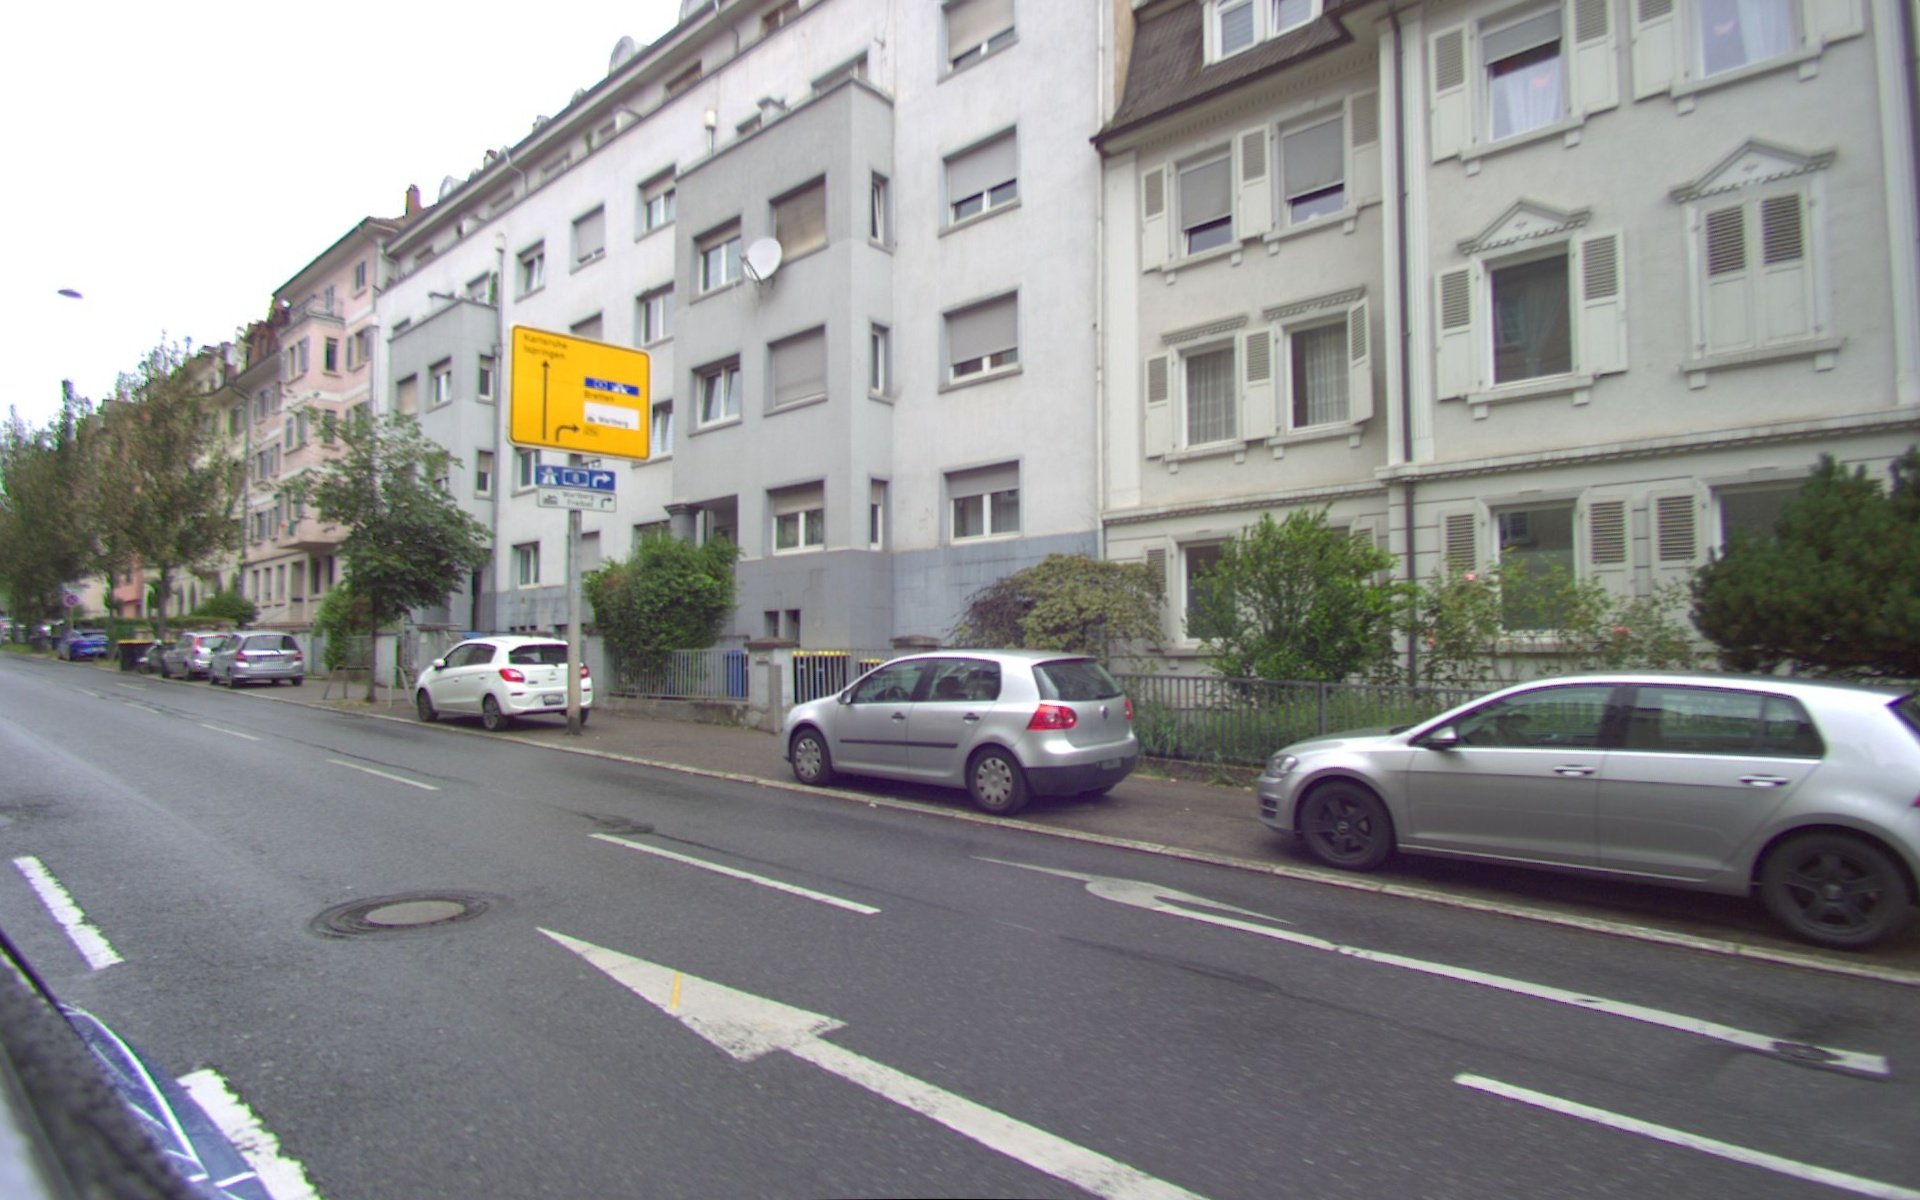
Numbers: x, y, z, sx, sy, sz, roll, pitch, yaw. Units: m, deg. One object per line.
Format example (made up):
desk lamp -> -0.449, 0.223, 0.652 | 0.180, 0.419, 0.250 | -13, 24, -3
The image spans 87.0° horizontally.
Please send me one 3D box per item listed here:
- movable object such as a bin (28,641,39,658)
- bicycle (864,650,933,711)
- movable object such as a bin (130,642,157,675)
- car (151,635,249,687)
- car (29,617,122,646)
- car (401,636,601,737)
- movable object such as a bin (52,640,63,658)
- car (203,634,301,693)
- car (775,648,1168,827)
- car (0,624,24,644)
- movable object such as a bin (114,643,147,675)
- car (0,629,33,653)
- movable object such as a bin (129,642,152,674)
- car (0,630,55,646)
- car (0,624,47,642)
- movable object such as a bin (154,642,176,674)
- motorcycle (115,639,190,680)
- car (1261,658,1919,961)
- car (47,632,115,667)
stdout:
movable object such as a bin -> -48.719, 2.600, 53.194 | 0.572, 0.896, 0.360 | -1, -1, 41
bicycle -> -1.164, 1.519, 19.356 | 0.484, 1.098, 1.406 | -1, -3, 41
movable object such as a bin -> -28.227, 2.017, 34.989 | 0.480, 1.066, 0.522 | 0, 1, 20
car -> -23.356, 1.815, 31.062 | 3.885, 1.407, 1.584 | 0, -2, 41
car -> -61.938, 2.149, 70.941 | 1.917, 1.919, 4.672 | 0, -1, 39
car -> -7.905, 1.386, 17.311 | 3.793, 1.519, 1.629 | -1, -2, 40
movable object such as a bin -> -48.084, 2.606, 53.916 | 0.572, 0.918, 0.360 | 0, 0, 41
car -> -19.610, 1.694, 27.961 | 1.582, 1.462, 3.889 | 0, -1, -45
car -> -0.017, 1.233, 10.356 | 3.908, 1.401, 1.665 | -1, -2, 42
car -> -95.168, 3.336, 99.793 | 1.865, 1.861, 3.880 | 0, -3, 39
movable object such as a bin -> -29.231, 2.079, 35.662 | 0.483, 1.066, 0.816 | 0, 1, 42
car -> -60.082, 2.564, 64.029 | 4.136, 1.428, 1.663 | -1, -3, 42
movable object such as a bin -> -28.693, 2.030, 35.427 | 0.482, 1.066, 0.467 | 0, 1, 32
car -> -84.918, 3.456, 91.886 | 1.646, 1.307, 3.877 | 0, -3, 42
car -> -91.869, 3.205, 98.836 | 1.592, 1.634, 3.877 | 0, -3, 42
movable object such as a bin -> -27.878, 2.033, 35.484 | 0.482, 1.066, 0.467 | 0, 1, 32
motorcycle -> -27.014, 1.992, 33.877 | 1.783, 1.325, 0.743 | 1, -2, -7
car -> 4.208, 1.145, 6.708 | 3.935, 1.401, 1.665 | -1, -2, 42
car -> -38.989, 2.168, 44.869 | 4.601, 1.396, 1.661 | 0, -2, 41
